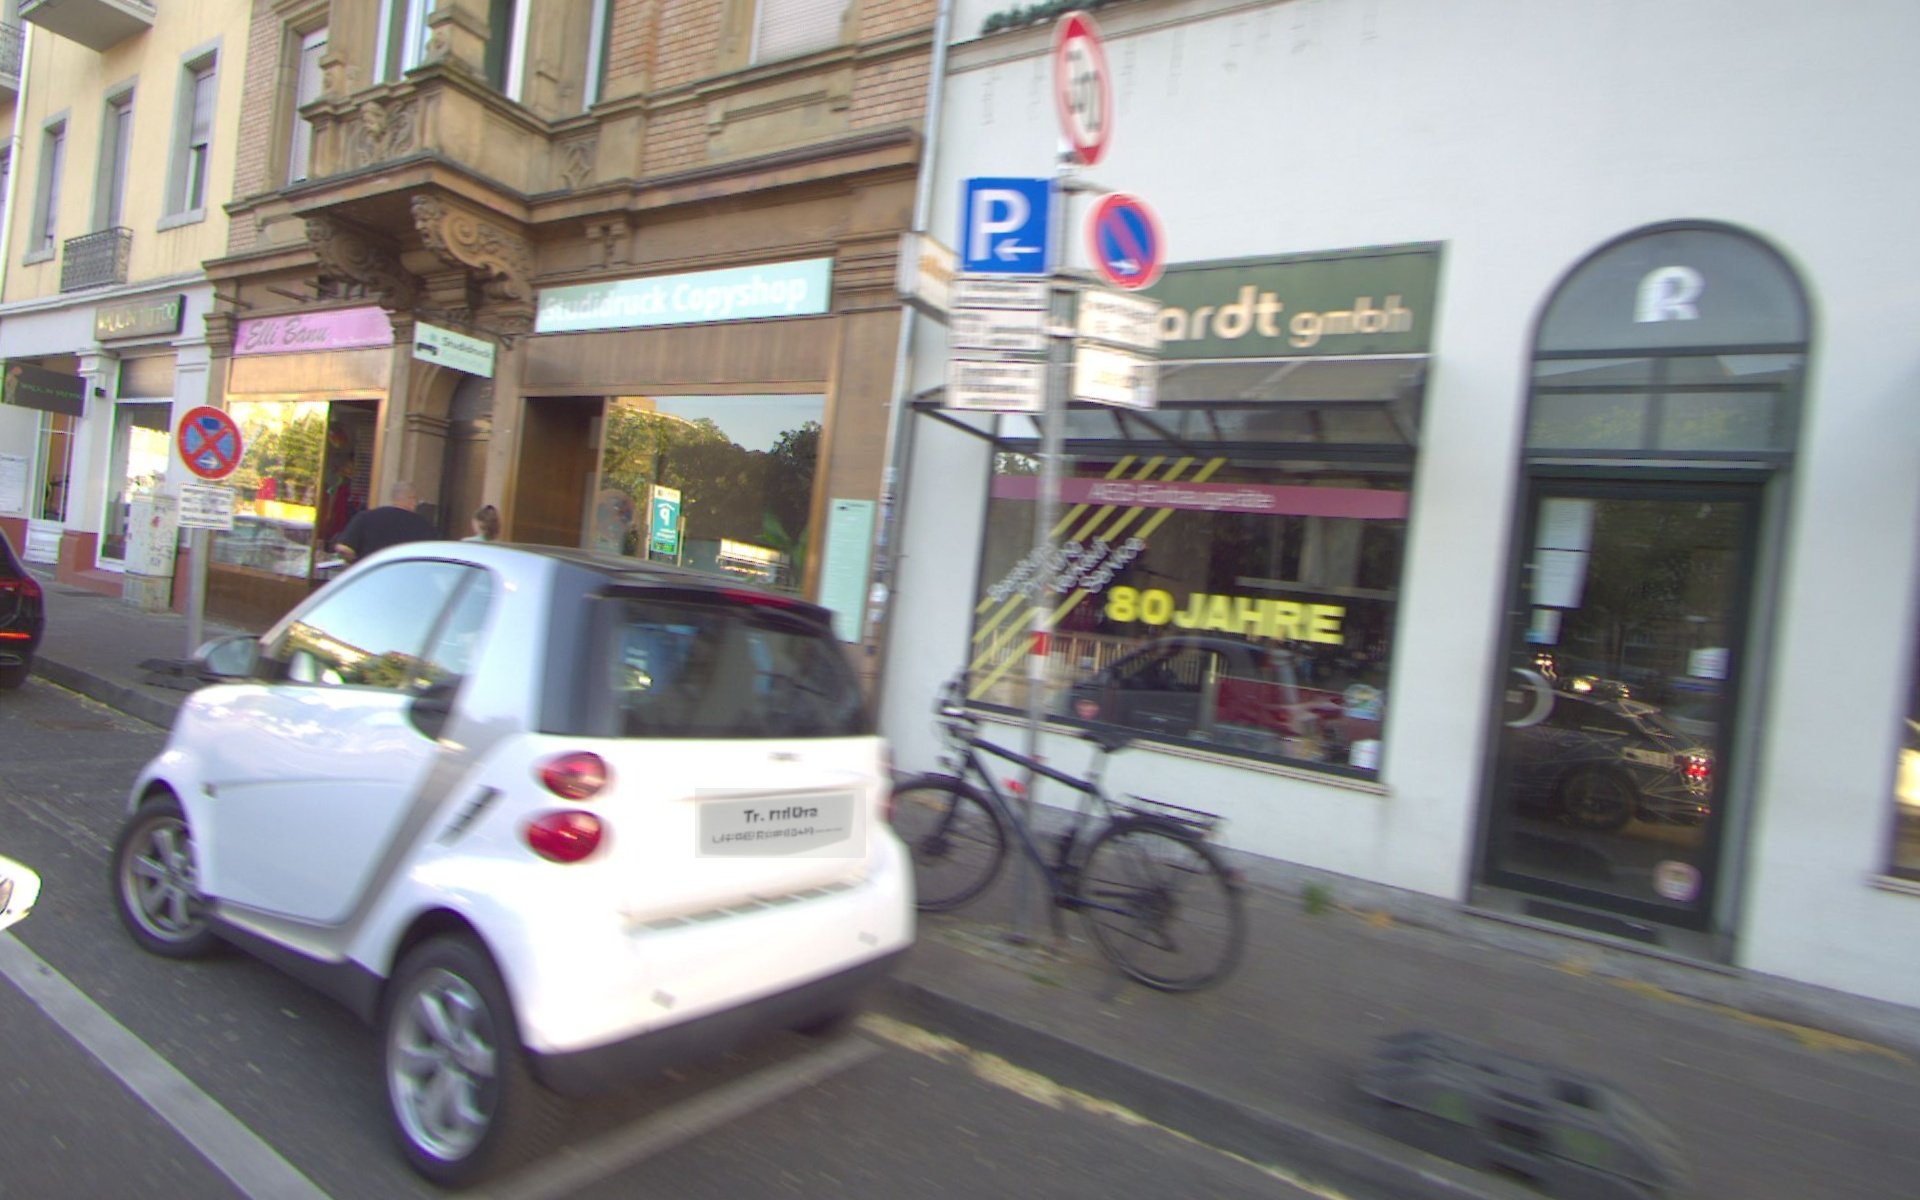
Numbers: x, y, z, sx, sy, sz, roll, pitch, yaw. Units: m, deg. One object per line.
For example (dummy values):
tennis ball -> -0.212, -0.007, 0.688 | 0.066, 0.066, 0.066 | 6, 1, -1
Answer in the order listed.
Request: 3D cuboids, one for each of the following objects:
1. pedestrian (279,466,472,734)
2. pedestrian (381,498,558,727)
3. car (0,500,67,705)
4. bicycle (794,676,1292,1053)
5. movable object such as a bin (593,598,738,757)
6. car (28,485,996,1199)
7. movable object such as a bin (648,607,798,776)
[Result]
pedestrian -> -4.433, -0.011, 7.634 | 0.994, 1.851, 0.773 | 7, 2, 31
pedestrian -> -4.085, 0.089, 8.384 | 1.024, 1.734, 0.773 | 7, 2, 31
car -> -9.058, -0.236, 7.941 | 4.450, 1.464, 1.733 | 6, -3, 32
bicycle -> 0.270, 0.956, 4.134 | 1.915, 1.028, 0.504 | 7, 1, 31
movable object such as a bin -> -2.227, 0.568, 7.643 | 0.607, 1.084, 0.774 | 7, 2, 31
car -> -1.719, 0.547, 3.600 | 3.230, 1.554, 1.534 | 6, -2, 33
movable object such as a bin -> -1.699, 0.636, 7.259 | 0.607, 1.084, 0.774 | 7, 2, 31
